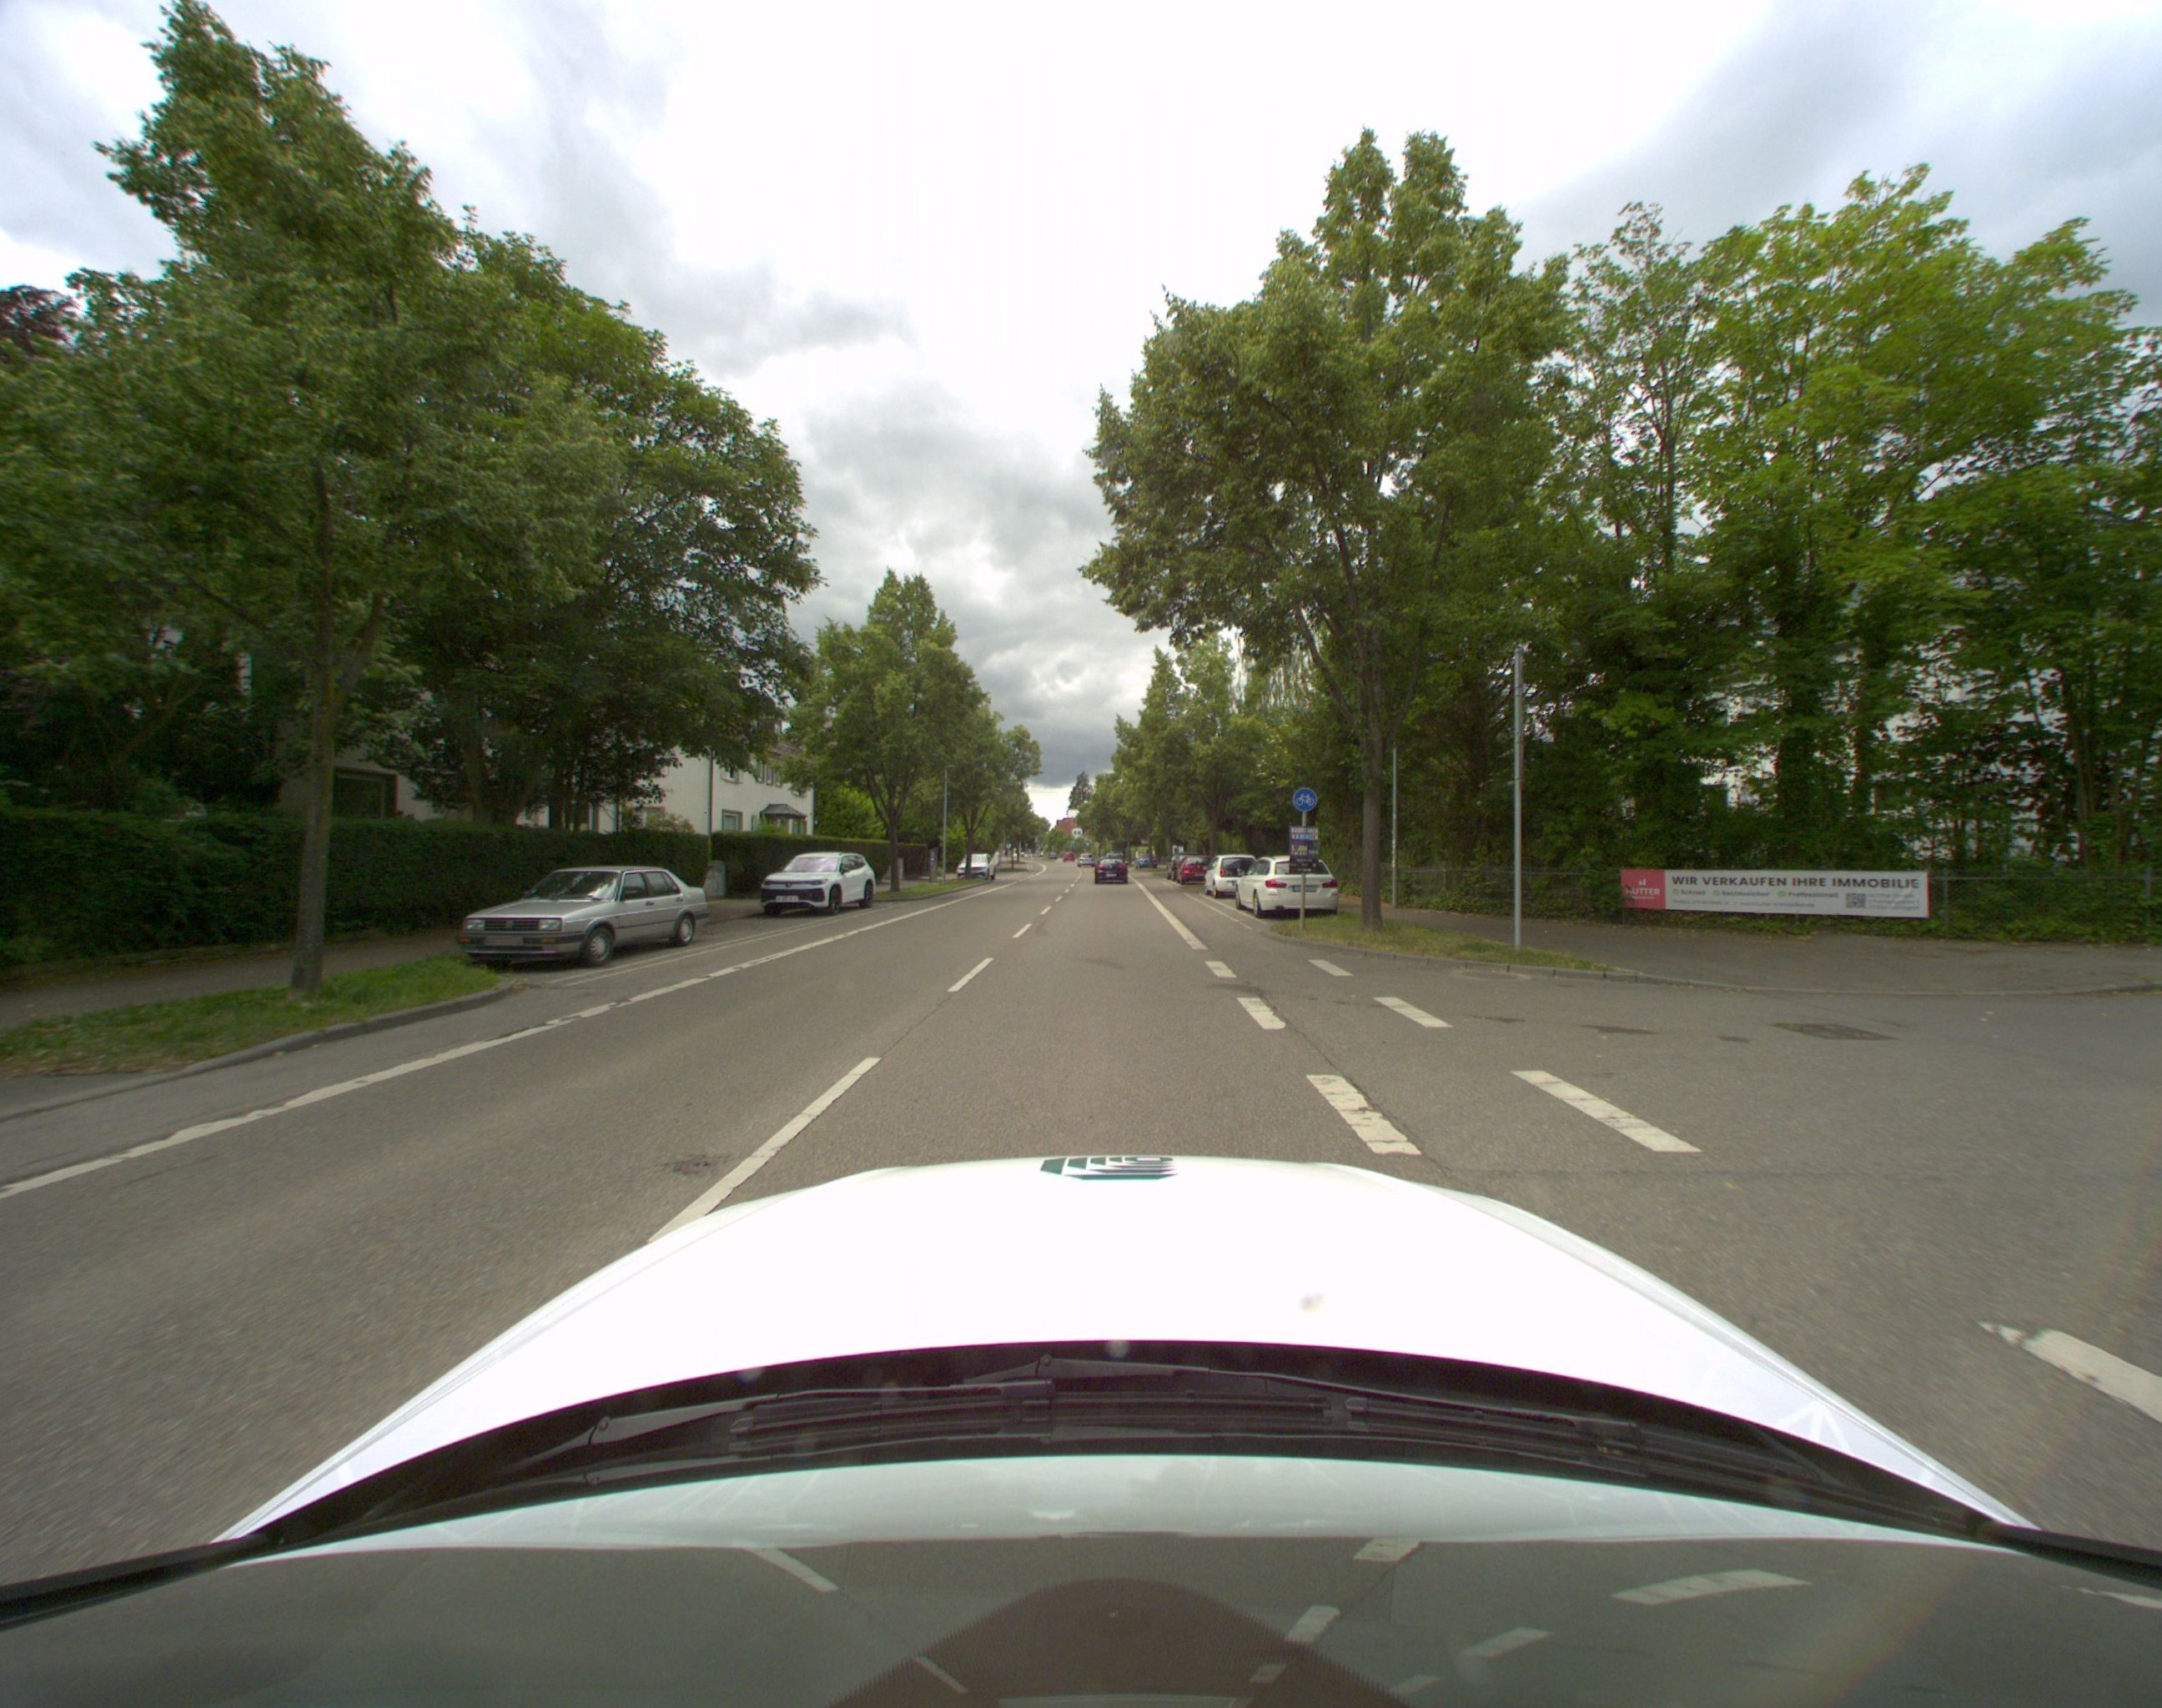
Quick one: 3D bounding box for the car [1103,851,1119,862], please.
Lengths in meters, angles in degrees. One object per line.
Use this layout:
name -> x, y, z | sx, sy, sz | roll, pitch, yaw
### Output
car -> 4.044, 0.300, 109.372 | 1.683, 1.449, 3.573 | 0, 0, -5

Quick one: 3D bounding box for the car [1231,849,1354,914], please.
car -> 5.164, 0.617, 20.622 | 2.013, 1.443, 5.028 | 0, 0, 2

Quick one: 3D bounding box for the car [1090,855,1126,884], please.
car -> 1.397, 0.810, 42.914 | 1.777, 1.449, 3.557 | 0, 0, 0

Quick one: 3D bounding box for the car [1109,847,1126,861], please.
car -> 4.640, 0.033, 103.414 | 1.784, 1.772, 3.978 | 0, 0, -3

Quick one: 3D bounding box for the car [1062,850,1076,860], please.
car -> -1.937, 0.228, 127.414 | 1.989, 1.530, 3.995 | -1, 0, -3

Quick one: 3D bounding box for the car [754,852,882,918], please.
car -> -7.202, 0.767, 22.859 | 1.809, 1.652, 4.704 | 0, 0, 4

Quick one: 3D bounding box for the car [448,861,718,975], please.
car -> -7.608, 0.872, 13.045 | 1.550, 1.470, 4.452 | 0, 0, 0

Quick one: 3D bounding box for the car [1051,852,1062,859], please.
car -> -4.858, 0.321, 162.258 | 1.989, 1.508, 3.995 | 0, -1, -3

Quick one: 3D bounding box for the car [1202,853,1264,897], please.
car -> 5.335, 0.705, 29.014 | 1.609, 1.460, 3.659 | -1, 0, 2

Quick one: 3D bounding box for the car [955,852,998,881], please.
car -> -6.368, 0.740, 50.209 | 1.867, 1.688, 4.868 | -1, 0, 2

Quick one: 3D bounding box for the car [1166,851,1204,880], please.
car -> 5.865, 0.628, 46.405 | 1.633, 1.615, 4.168 | 0, 0, 0

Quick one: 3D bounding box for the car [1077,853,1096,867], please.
car -> 0.610, 0.672, 91.744 | 1.987, 1.558, 3.999 | -1, 0, 0

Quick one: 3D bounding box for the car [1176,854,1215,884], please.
car -> 5.714, 0.732, 40.926 | 1.631, 1.420, 4.004 | -1, 0, 3

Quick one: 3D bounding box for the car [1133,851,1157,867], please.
car -> 5.974, 0.490, 75.953 | 1.679, 1.432, 4.039 | -1, 0, -3

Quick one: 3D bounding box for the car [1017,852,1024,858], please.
car -> -18.381, 0.356, 248.843 | 1.968, 1.675, 3.874 | 0, 0, -1
